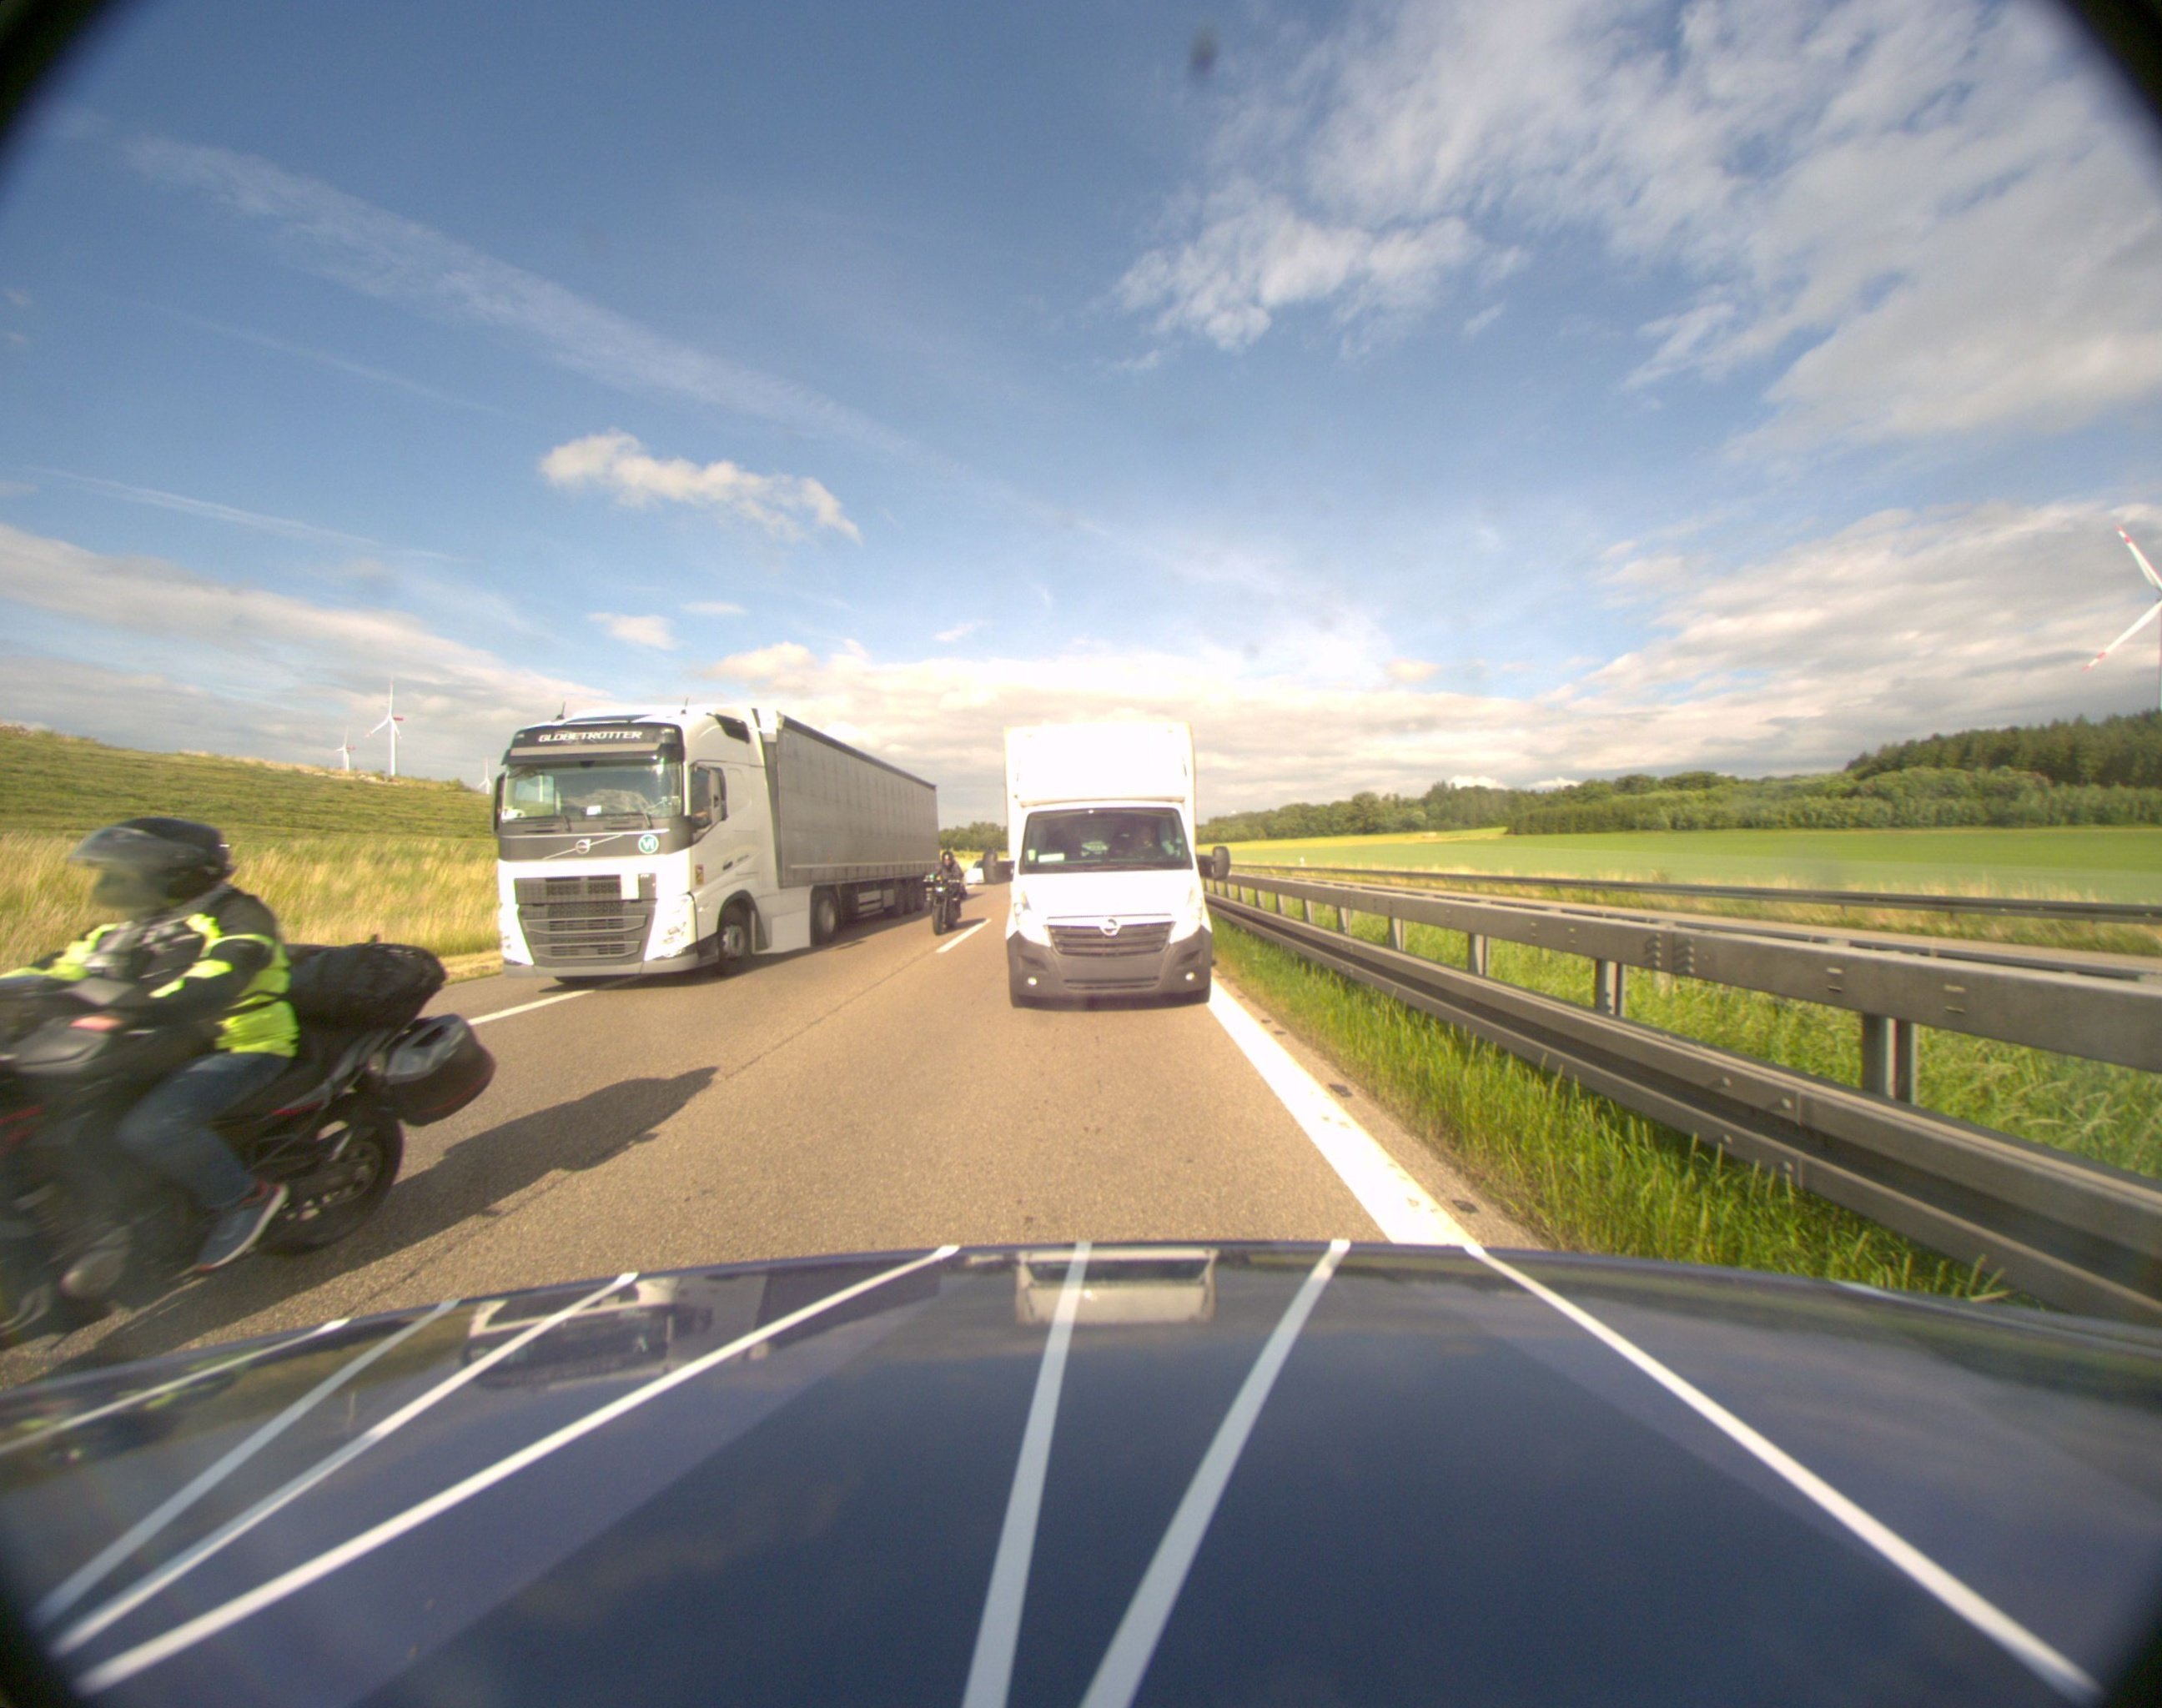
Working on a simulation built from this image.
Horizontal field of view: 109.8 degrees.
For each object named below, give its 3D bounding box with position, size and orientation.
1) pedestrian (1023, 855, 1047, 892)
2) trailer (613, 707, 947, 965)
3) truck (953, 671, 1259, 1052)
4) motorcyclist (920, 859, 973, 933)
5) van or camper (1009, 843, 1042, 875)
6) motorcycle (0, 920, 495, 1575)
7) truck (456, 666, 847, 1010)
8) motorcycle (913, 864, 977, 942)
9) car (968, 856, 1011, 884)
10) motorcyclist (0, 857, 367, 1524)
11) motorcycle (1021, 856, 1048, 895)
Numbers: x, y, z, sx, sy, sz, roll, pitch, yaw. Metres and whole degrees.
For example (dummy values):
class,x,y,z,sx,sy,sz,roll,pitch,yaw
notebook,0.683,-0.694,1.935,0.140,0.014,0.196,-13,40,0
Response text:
class,x,y,z,sx,sy,sz,roll,pitch,yaw
pedestrian,-1.867,0.773,31.069,0.898,1.447,0.983,-1,1,0
trailer,-5.914,-0.314,18.770,2.623,4.017,13.698,-1,0,1
truck,0.202,0.074,11.972,2.502,3.141,11.162,-1,0,0
motorcyclist,-2.760,0.849,15.698,0.898,1.447,0.892,-1,1,0
van or camper,-4.580,0.354,63.615,2.102,2.530,6.412,-1,1,1
motorcycle,-3.098,1.040,2.252,0.898,1.447,2.269,-1,1,0
truck,-5.991,-0.198,12.013,2.607,4.017,6.119,-1,1,0
motorcycle,-2.766,0.958,15.669,0.898,1.447,1.982,-1,1,1
car,-5.289,0.899,44.564,1.871,1.409,4.461,-1,1,1
motorcyclist,-3.098,0.833,2.267,0.898,1.608,1.022,-1,1,0
motorcycle,-1.887,0.850,31.007,0.898,1.447,2.269,-1,1,1
